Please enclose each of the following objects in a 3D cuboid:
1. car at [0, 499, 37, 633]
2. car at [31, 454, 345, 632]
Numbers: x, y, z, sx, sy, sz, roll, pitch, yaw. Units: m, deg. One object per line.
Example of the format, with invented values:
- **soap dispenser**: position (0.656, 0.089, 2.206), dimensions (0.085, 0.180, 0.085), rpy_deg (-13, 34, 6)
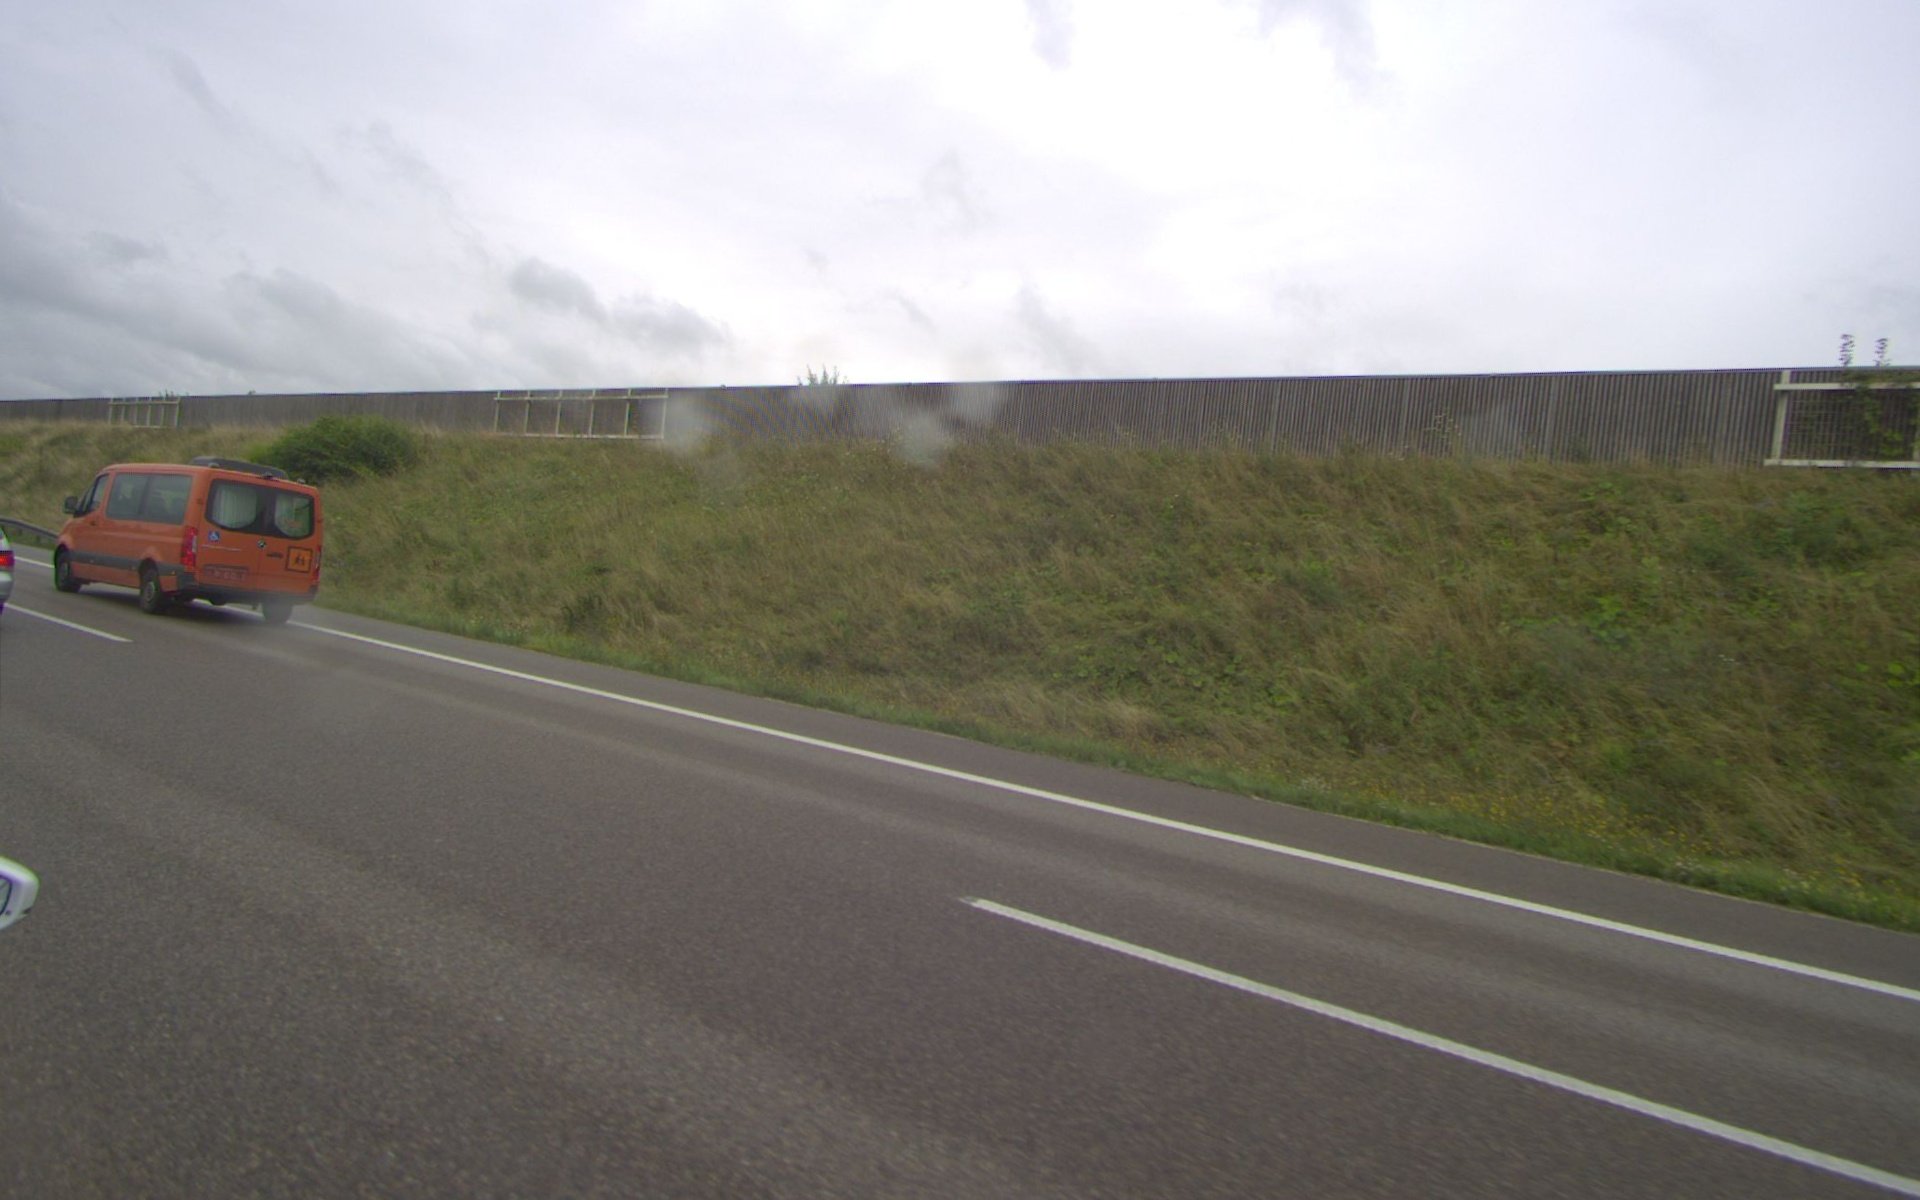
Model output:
- **car**: position (-12.655, -0.634, 11.647), dimensions (4.443, 1.442, 1.744), rpy_deg (7, 0, 33)
- **car**: position (-13.343, -1.034, 17.241), dimensions (6.079, 2.343, 2.089), rpy_deg (7, 0, 32)
